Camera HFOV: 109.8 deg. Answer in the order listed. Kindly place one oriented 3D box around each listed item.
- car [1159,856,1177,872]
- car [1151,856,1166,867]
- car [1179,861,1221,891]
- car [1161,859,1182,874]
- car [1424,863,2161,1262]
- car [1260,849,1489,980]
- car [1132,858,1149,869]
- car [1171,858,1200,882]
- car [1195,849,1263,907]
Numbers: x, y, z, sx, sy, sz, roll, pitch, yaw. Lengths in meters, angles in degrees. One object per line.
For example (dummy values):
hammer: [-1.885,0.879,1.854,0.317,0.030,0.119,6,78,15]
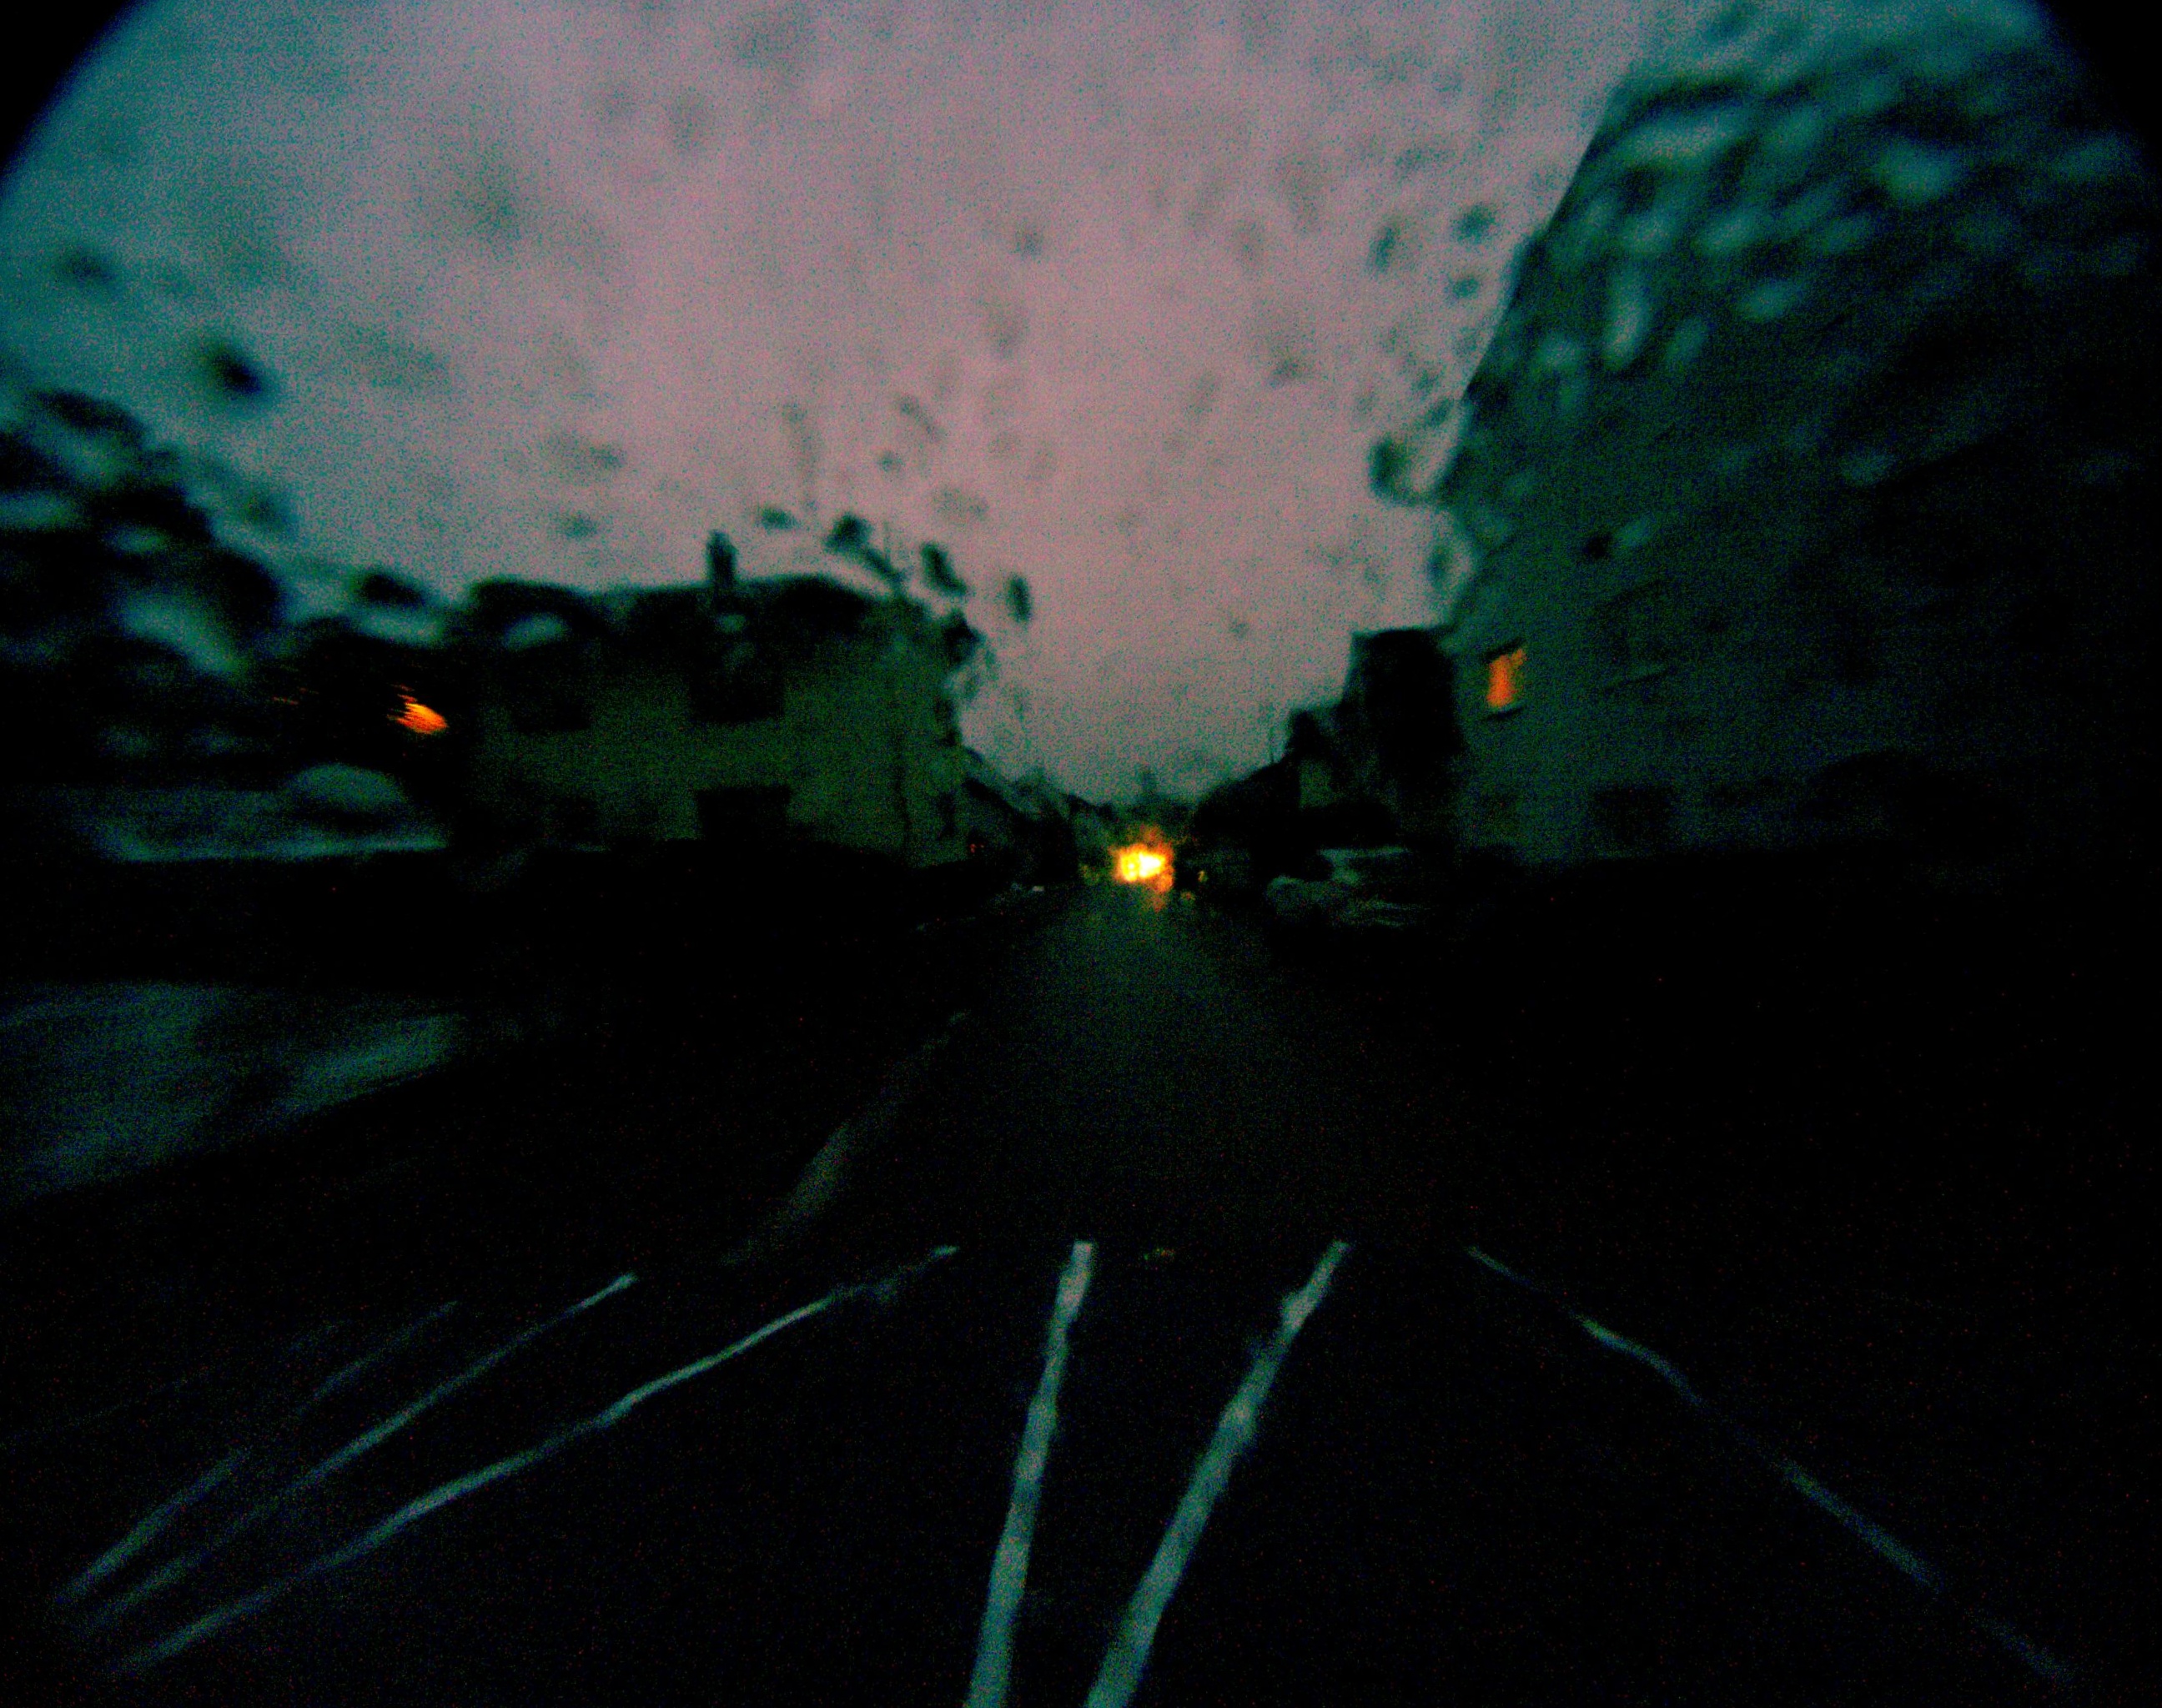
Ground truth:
car: [9.853,1.120,86.471,1.720,1.616,3.731,-1,0,1]
car: [12.626,1.201,123.052,1.792,1.764,3.893,-1,0,15]
car: [6.138,1.116,39.575,1.829,1.457,4.001,0,0,4]
car: [8.802,1.220,74.200,1.720,1.404,3.731,-1,0,1]
car: [4.047,0.830,4.954,1.738,1.428,4.034,-1,0,-1]
car: [4.209,0.744,11.763,1.922,1.615,4.423,-1,0,2]
car: [8.242,1.291,104.678,1.755,1.487,4.253,-1,0,12]
car: [7.049,1.076,51.541,1.766,1.543,4.001,0,0,4]
car: [5.001,0.776,26.199,1.775,1.782,4.130,-1,0,4]
